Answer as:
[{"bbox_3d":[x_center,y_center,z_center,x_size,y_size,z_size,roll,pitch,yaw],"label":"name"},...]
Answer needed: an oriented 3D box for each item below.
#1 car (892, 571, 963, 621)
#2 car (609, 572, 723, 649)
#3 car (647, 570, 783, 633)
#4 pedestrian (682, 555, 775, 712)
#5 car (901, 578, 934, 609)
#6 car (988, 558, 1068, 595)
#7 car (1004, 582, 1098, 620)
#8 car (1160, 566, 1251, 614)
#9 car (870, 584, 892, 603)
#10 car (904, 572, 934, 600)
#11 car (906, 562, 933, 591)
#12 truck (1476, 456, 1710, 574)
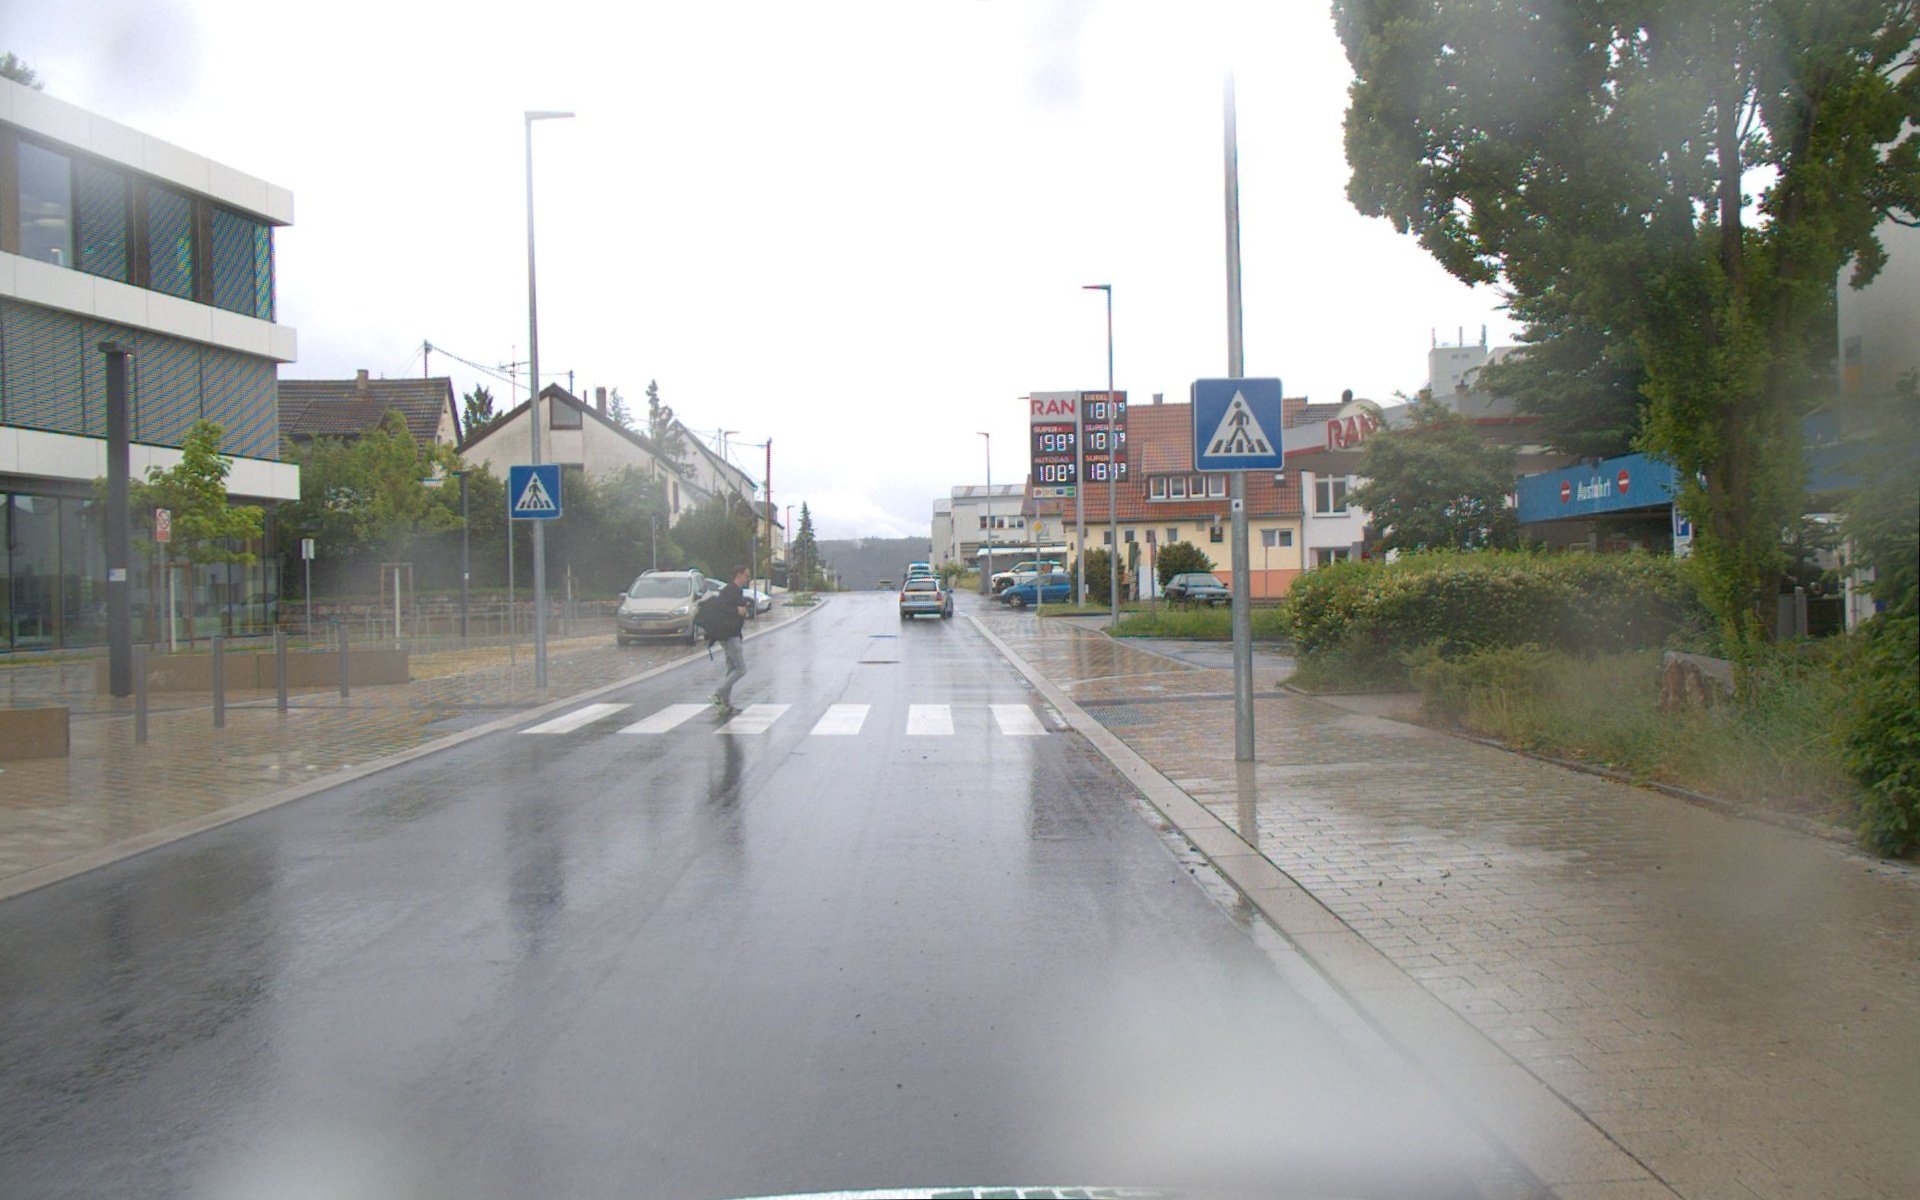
[{"bbox_3d":[-1.139,-0.115,60.231,1.907,1.583,4.003,2,-1,8],"label":"car"},{"bbox_3d":[-6.741,0.203,38.306,1.953,1.657,4.152,-1,1,-1],"label":"car"},{"bbox_3d":[-8.942,0.068,60.778,4.658,2.049,1.999,3,-2,-3],"label":"car"},{"bbox_3d":[-2.650,0.370,19.014,0.993,1.754,0.772,0,0,-4],"label":"pedestrian"},{"bbox_3d":[-2.640,-0.403,103.873,1.953,1.736,3.998,3,-1,-1],"label":"car"},{"bbox_3d":[3.609,-1.232,88.250,4.032,1.736,1.787,3,-2,-5],"label":"car"},{"bbox_3d":[4.152,0.054,75.052,3.903,1.519,1.859,2,-2,17],"label":"car"},{"bbox_3d":[8.930,-0.340,60.430,1.959,1.579,3.987,3,-1,-13],"label":"car"},{"bbox_3d":[-8.160,-0.652,171.052,2.110,1.736,3.998,3,-1,-1],"label":"car"},{"bbox_3d":[-2.894,-0.956,116.838,1.953,1.736,3.998,3,-1,-1],"label":"car"},{"bbox_3d":[-2.710,-1.548,110.631,1.747,1.736,3.998,3,-1,-1],"label":"car"},{"bbox_3d":[22.248,-2.908,58.133,7.597,3.504,2.668,3,-2,-17],"label":"truck"}]
